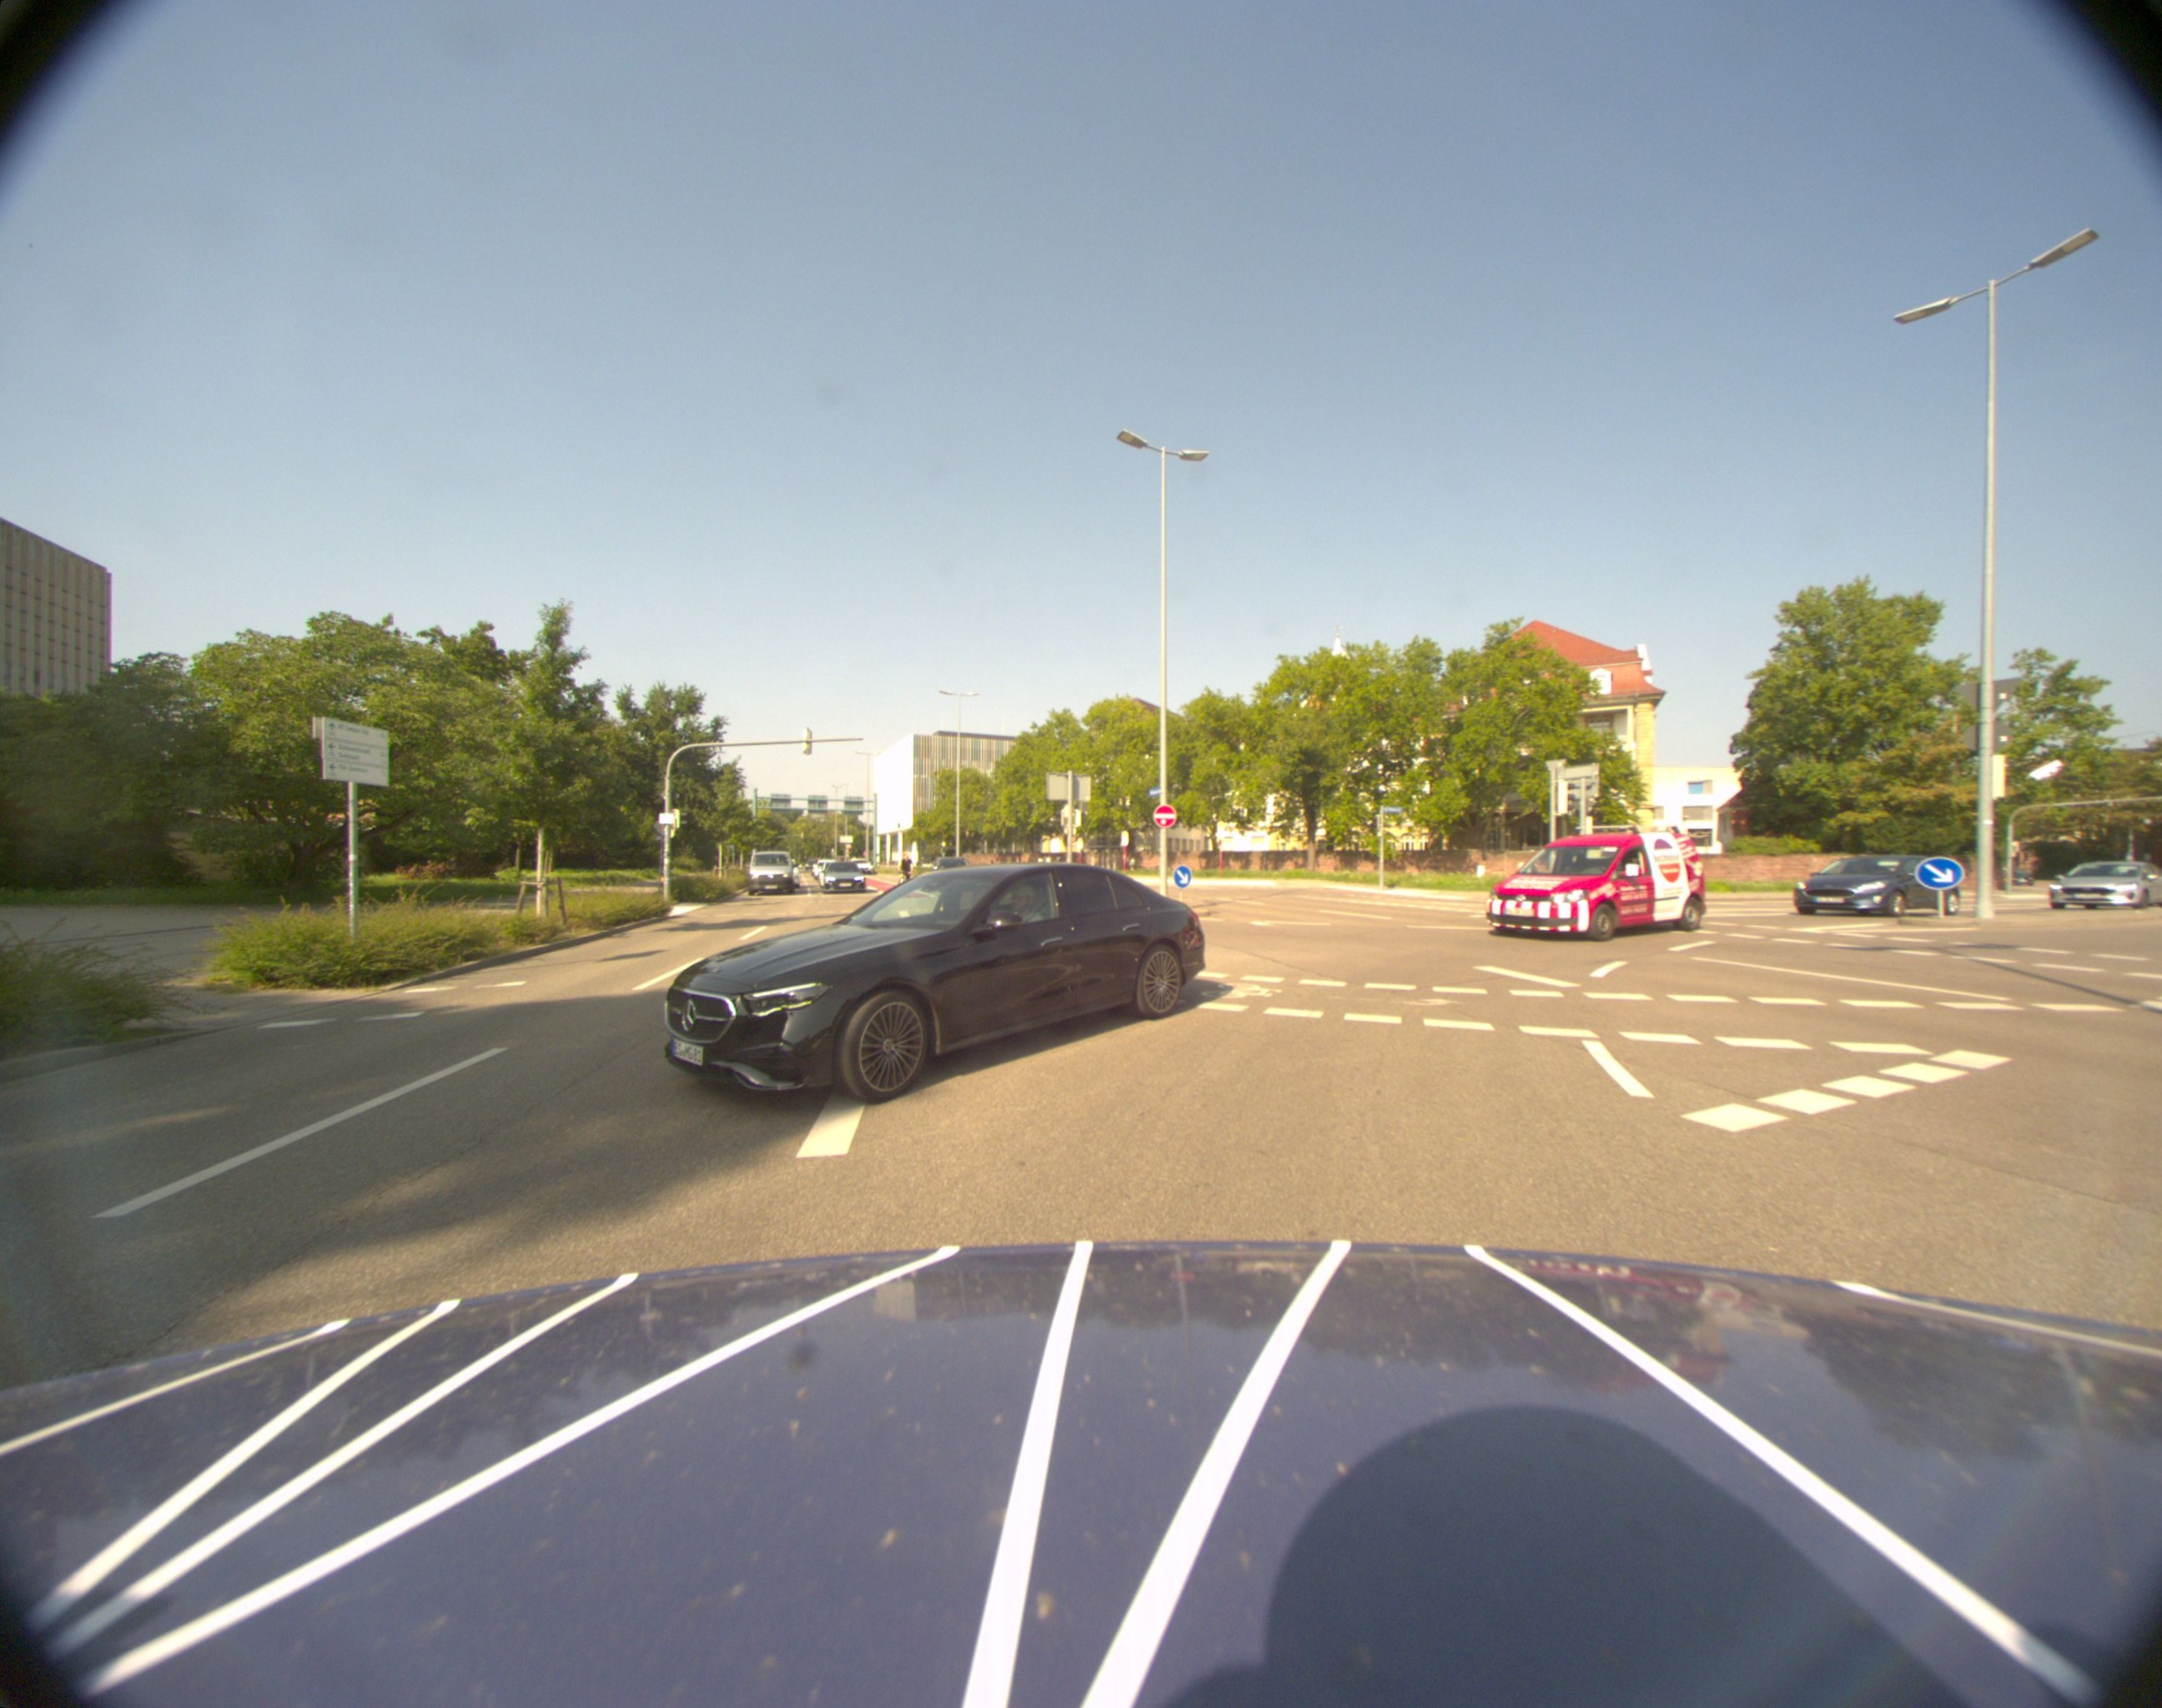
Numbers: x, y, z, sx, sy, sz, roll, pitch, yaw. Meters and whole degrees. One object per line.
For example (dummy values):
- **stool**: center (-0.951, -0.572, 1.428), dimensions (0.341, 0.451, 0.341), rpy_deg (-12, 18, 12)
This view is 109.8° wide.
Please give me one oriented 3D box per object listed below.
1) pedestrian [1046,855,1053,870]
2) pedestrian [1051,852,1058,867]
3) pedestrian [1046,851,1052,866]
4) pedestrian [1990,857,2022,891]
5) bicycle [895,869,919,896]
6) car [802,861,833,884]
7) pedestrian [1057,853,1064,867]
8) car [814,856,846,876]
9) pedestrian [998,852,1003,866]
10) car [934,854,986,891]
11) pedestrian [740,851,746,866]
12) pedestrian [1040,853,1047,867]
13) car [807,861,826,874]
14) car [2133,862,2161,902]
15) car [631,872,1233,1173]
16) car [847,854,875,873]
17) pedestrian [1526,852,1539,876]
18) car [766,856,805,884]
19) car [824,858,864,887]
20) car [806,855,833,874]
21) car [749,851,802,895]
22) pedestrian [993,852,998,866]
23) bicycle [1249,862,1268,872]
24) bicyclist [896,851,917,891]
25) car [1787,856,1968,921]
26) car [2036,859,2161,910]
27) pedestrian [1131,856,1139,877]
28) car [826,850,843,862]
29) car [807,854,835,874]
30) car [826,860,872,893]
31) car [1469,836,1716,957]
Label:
- **pedestrian**: center (-3.483, 0.909, 84.228), dimensions (0.521, 1.641, 0.593), rpy_deg (1, -2, -41)
- **pedestrian**: center (-2.944, 0.591, 83.844), dimensions (0.521, 1.641, 0.593), rpy_deg (1, -2, -41)
- **pedestrian**: center (-3.665, 0.495, 86.942), dimensions (0.484, 1.641, 0.593), rpy_deg (1, -2, -41)
- **pedestrian**: center (54.404, 1.182, 44.687), dimensions (0.908, 2.001, 0.821), rpy_deg (0, -2, -9)
- **bicycle**: center (-7.261, 1.175, 31.602), dimensions (0.771, 1.046, 1.772), rpy_deg (1, 0, -20)
- **car**: center (-18.701, 1.282, 53.881), dimensions (2.002, 1.497, 4.428), rpy_deg (0, 0, -19)
- **pedestrian**: center (-2.269, 0.671, 84.576), dimensions (0.484, 1.641, 0.593), rpy_deg (1, -2, -41)
- **car**: center (-19.603, 0.933, 59.182), dimensions (1.935, 1.497, 4.286), rpy_deg (0, 0, -24)
- **pedestrian**: center (-9.874, 0.618, 92.879), dimensions (0.486, 1.729, 0.504), rpy_deg (0, -2, -25)
- **car**: center (-5.851, 0.820, 36.222), dimensions (1.855, 1.569, 4.707), rpy_deg (-1, 0, -16)
- **pedestrian**: center (-39.476, 0.518, 88.861), dimensions (0.624, 1.835, 0.640), rpy_deg (0, 1, -22)
- **pedestrian**: center (-4.242, 0.690, 86.283), dimensions (0.536, 1.561, 0.501), rpy_deg (1, -3, -43)
- **car**: center (-33.975, 1.694, 97.648), dimensions (1.935, 1.650, 4.286), rpy_deg (0, 0, -24)
- **car**: center (38.316, 0.961, 26.152), dimensions (4.338, 1.321, 1.604), rpy_deg (0, 0, -24)
- **car**: center (-0.775, 0.946, 6.442), dimensions (1.820, 1.431, 4.884), rpy_deg (0, 1, 42)
- **car**: center (-20.155, 0.838, 69.582), dimensions (1.935, 1.650, 4.286), rpy_deg (0, 0, -24)
- **pedestrian**: center (32.132, 0.693, 54.093), dimensions (0.716, 1.673, 0.596), rpy_deg (1, 0, 35)
- **car**: center (-16.560, 0.884, 42.717), dimensions (1.812, 1.497, 3.962), rpy_deg (0, 0, -17)
- **car**: center (-13.232, 0.997, 42.457), dimensions (2.002, 1.497, 4.428), rpy_deg (0, 0, -17)
- **car**: center (-24.106, 0.935, 69.961), dimensions (1.935, 1.650, 4.286), rpy_deg (0, 0, -24)
- **car**: center (-13.884, 0.816, 34.715), dimensions (1.848, 1.864, 4.966), rpy_deg (0, 0, -17)
- **pedestrian**: center (-10.484, 0.622, 92.840), dimensions (0.486, 1.729, 0.504), rpy_deg (0, -2, -25)
- **bicycle**: center (15.720, 1.149, 67.337), dimensions (1.545, 0.830, 0.435), rpy_deg (0, 0, 42)
- **bicyclist**: center (-7.247, 0.683, 31.569), dimensions (0.750, 1.626, 0.874), rpy_deg (0, 0, -20)
- **car**: center (19.003, 0.772, 18.103), dimensions (4.327, 1.418, 1.638), rpy_deg (0, -1, -24)
- **car**: center (31.074, 0.876, 23.060), dimensions (3.865, 1.425, 1.717), rpy_deg (0, 0, -25)
- **pedestrian**: center (5.392, 1.233, 76.296), dimensions (0.521, 2.092, 0.593), rpy_deg (1, -2, -41)
- **car**: center (-43.378, 0.379, 133.647), dimensions (1.923, 2.001, 3.992), rpy_deg (1, -3, -30)
- **car**: center (-22.135, 0.852, 64.652), dimensions (1.935, 1.650, 4.286), rpy_deg (0, 0, -24)
- **car**: center (-10.833, 0.992, 35.392), dimensions (1.913, 1.392, 4.912), rpy_deg (0, 0, -17)
- **car**: center (8.946, 0.616, 13.229), dimensions (4.284, 1.808, 1.734), rpy_deg (-1, 1, -28)
